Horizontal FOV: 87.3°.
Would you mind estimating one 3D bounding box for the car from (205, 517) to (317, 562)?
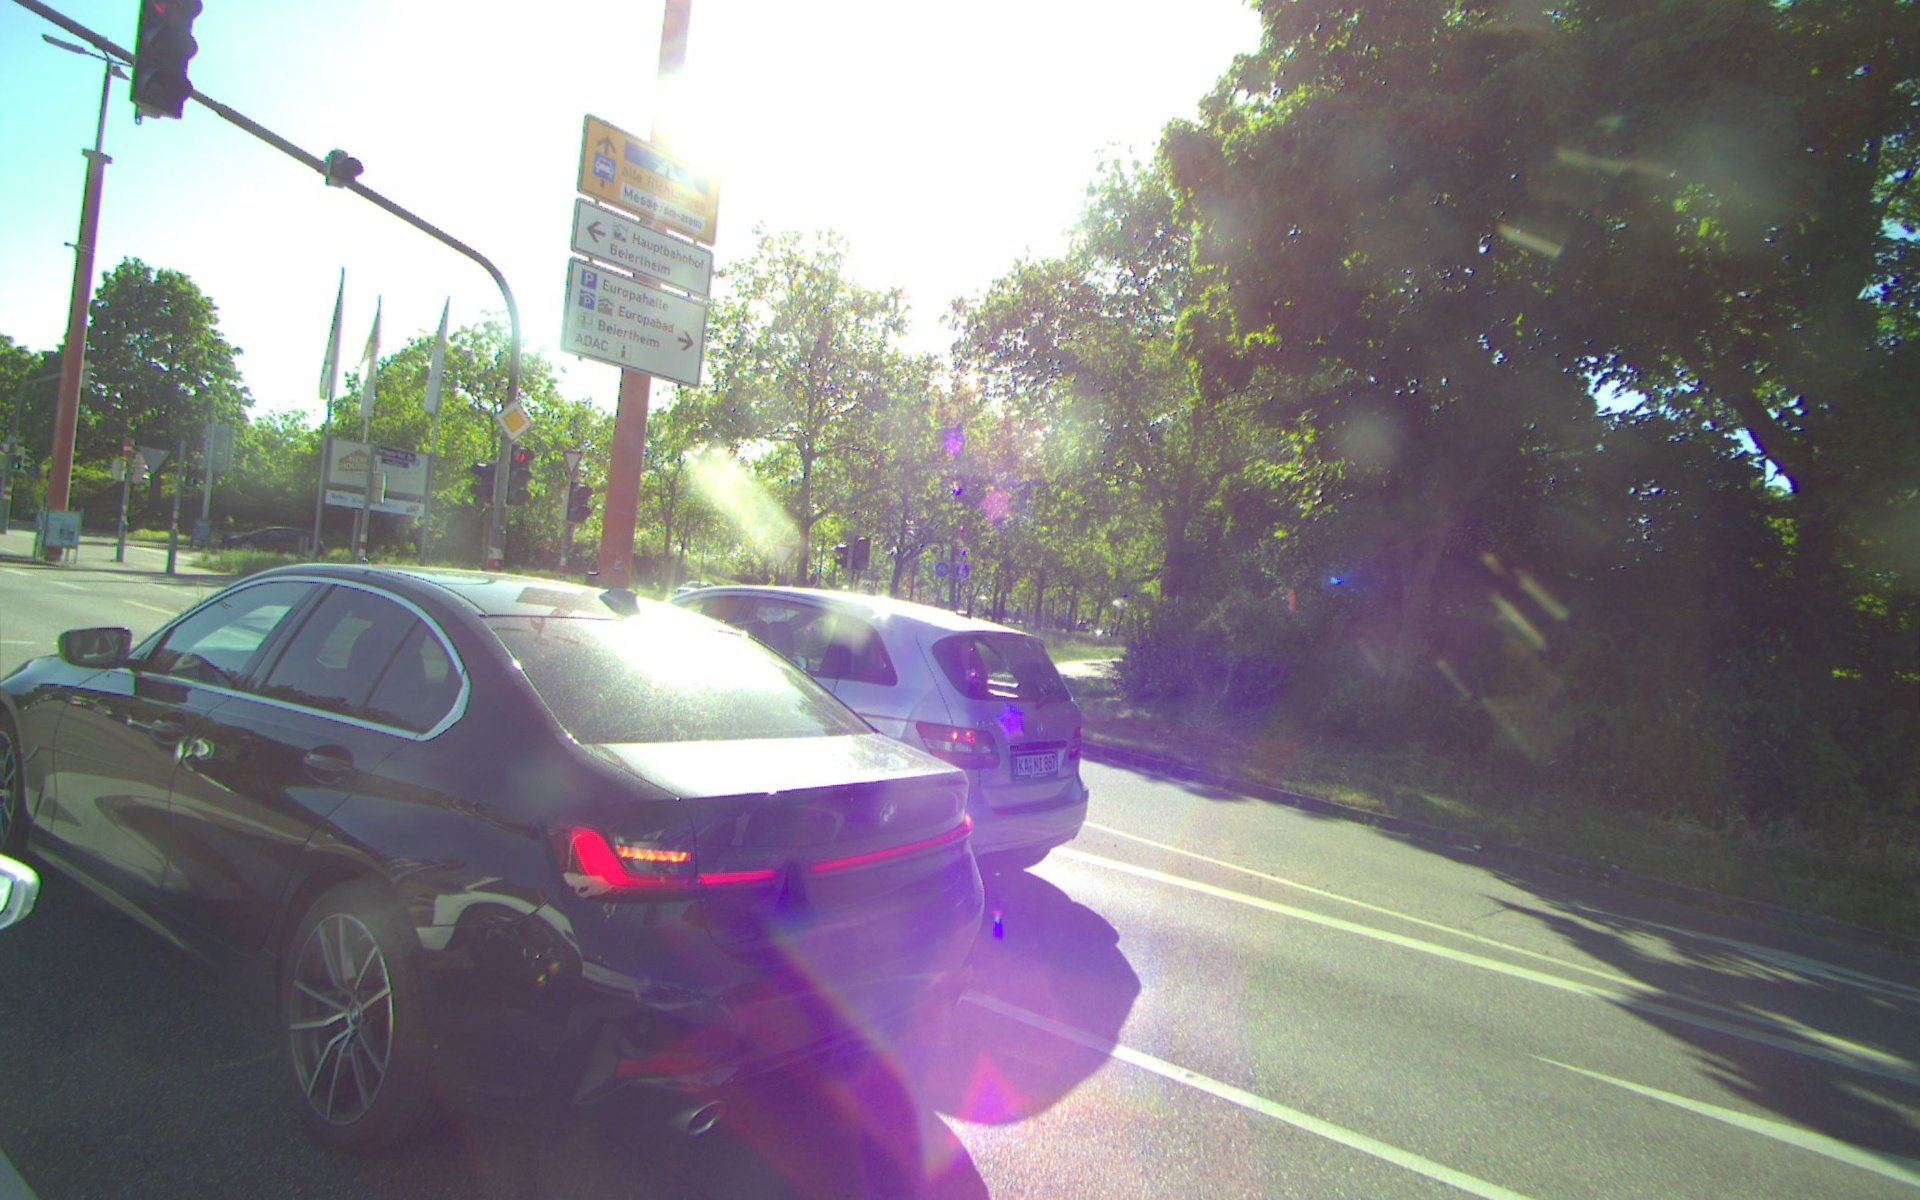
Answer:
[{"bbox_3d":[-34.587,-2.969,49.837,4.252,1.592,2.140,8,-1,-42],"label":"car"}]

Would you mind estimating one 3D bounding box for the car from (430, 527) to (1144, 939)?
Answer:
[{"bbox_3d":[-1.279,0.642,6.789,4.403,1.706,1.970,7,-1,32],"label":"car"}]

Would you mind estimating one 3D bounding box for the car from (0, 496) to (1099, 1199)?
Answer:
[{"bbox_3d":[-1.957,0.531,3.881,4.403,1.411,1.996,7,0,32],"label":"car"}]
